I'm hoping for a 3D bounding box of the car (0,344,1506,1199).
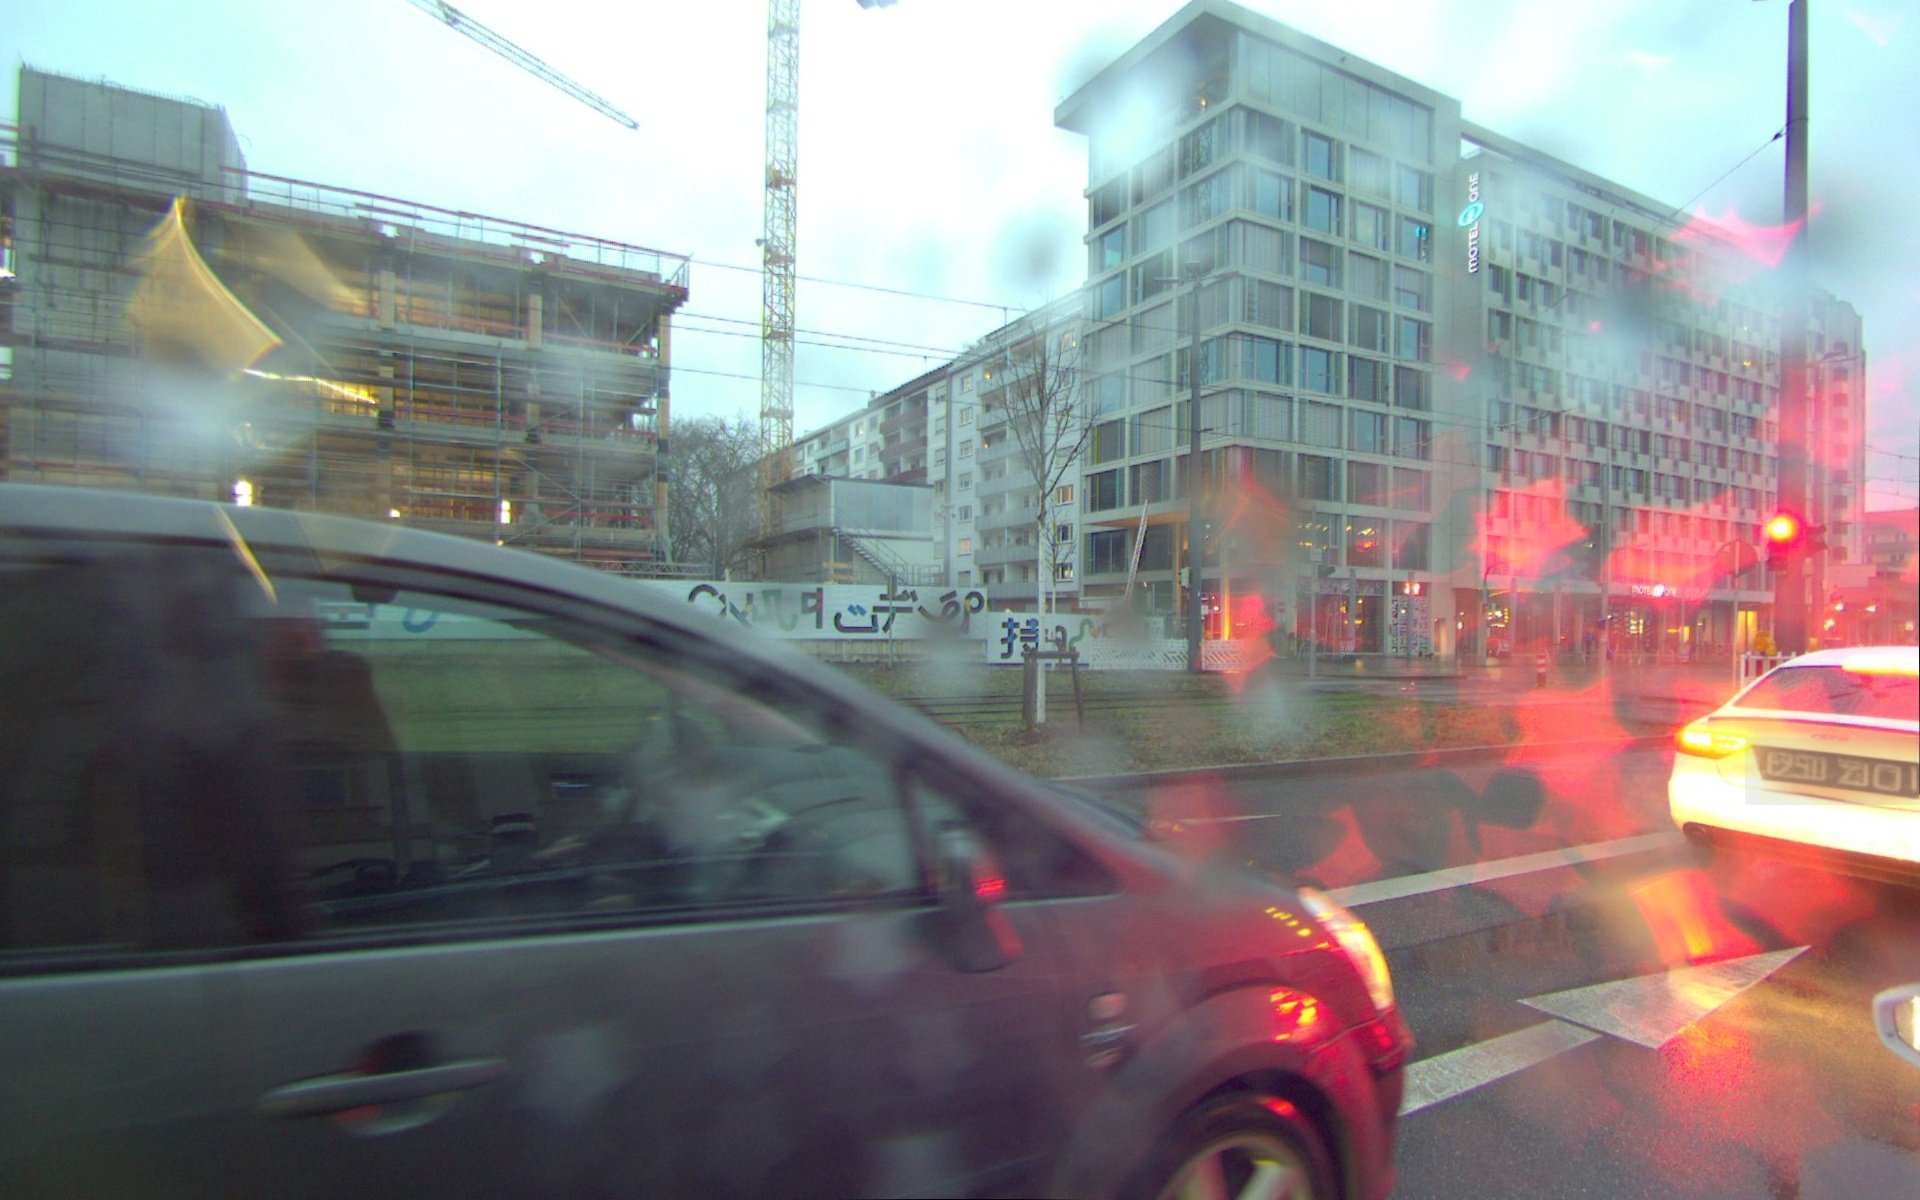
[{"bbox_3d":[-1.026,0.615,1.840,4.089,1.668,1.801,1,0,-32],"label":"car"}]

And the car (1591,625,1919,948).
[{"bbox_3d":[6.071,0.928,6.234,4.320,1.475,1.983,1,-1,-32],"label":"car"}]

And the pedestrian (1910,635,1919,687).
[{"bbox_3d":[32.809,2.093,34.052,0.808,1.734,0.782,2,0,-45],"label":"pedestrian"}]
